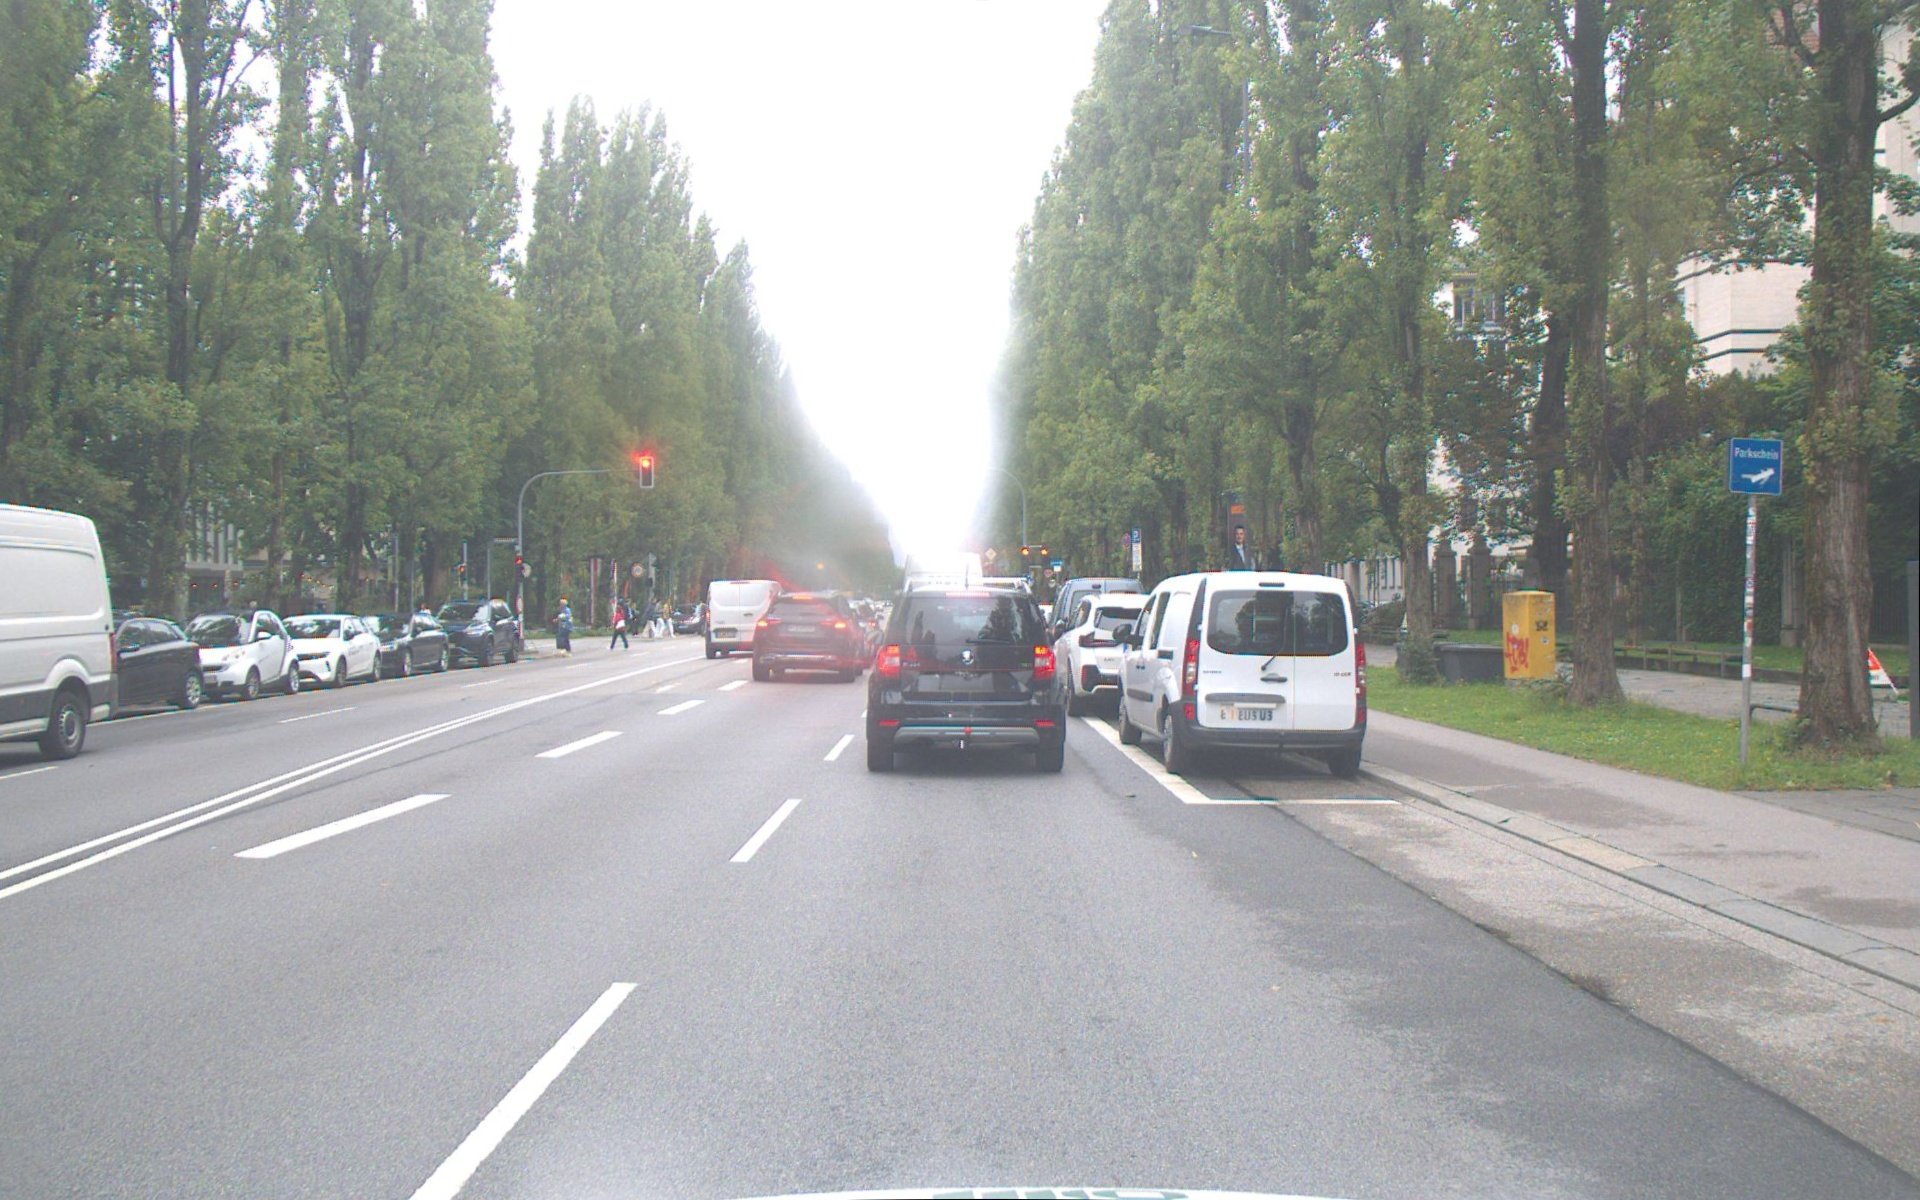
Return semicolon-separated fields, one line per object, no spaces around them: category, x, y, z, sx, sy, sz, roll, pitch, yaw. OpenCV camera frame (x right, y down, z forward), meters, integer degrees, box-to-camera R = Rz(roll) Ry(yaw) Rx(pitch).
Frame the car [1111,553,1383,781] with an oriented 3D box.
car;2.644;0.557;16.200;1.814;1.914;4.167;-1;0;-2

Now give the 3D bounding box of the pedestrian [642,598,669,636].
pedestrian;-13.835;0.761;75.226;0.874;1.684;0.866;-1;0;-39

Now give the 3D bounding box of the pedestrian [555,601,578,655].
pedestrian;-11.847;0.839;49.805;0.517;1.605;0.662;-1;0;-1

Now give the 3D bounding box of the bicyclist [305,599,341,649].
bicyclist;-22.587;0.837;58.648;0.886;1.752;0.825;-1;0;8

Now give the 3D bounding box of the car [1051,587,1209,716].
car;2.294;0.639;23.271;1.705;1.620;4.211;-1;0;-1

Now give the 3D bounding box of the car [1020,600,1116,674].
car;2.203;0.727;34.618;1.700;1.411;3.562;-1;0;-1

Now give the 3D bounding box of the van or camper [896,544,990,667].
van or camper;-0.443;0.099;37.223;1.936;2.593;4.023;-1;0;-3

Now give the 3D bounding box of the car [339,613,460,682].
car;-13.168;1.081;39.069;1.591;1.413;4.164;-3;0;-3

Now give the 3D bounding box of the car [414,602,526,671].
car;-13.232;0.940;44.952;1.812;1.683;4.692;-3;0;-3

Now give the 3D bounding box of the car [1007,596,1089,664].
car;2.091;0.687;39.918;1.700;1.501;3.562;-1;0;-1

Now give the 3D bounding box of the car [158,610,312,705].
car;-12.806;0.983;29.368;1.399;1.472;2.965;-4;0;-2

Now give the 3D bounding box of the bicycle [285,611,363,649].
bicycle;-22.544;1.059;58.625;2.481;1.259;0.813;-1;0;9

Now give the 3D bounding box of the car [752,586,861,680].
car;-2.865;0.570;31.572;1.745;1.648;4.024;-1;0;-1

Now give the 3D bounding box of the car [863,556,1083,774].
car;0.082;0.539;15.937;1.818;1.801;3.999;1;0;-1

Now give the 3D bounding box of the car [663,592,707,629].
car;-14.037;0.524;84.663;1.654;1.814;3.774;-1;0;-1

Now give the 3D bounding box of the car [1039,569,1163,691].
car;2.363;0.466;28.546;1.700;1.928;4.024;-1;0;-1

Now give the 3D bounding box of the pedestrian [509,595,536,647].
pedestrian;-13.598;0.649;51.399;0.647;1.605;0.530;-1;0;-1

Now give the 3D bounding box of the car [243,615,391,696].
car;-12.962;1.075;33.602;1.592;1.413;4.163;-3;0;-4

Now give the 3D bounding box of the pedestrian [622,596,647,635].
pedestrian;-15.207;0.705;77.287;0.861;1.795;0.879;-1;0;8

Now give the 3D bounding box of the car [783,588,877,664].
car;-2.927;0.559;37.928;1.953;1.588;3.999;-1;1;-2

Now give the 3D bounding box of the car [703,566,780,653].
car;-5.700;0.233;43.564;1.746;2.148;4.021;-1;0;-4

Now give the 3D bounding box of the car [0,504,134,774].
car;-10.038;0.411;14.710;2.183;2.526;6.754;-3;0;-3

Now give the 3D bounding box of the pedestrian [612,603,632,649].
pedestrian;-11.105;0.854;54.366;0.507;1.511;0.536;-1;0;-1

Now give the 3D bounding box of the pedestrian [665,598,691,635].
pedestrian;-13.019;0.765;76.335;0.874;1.684;0.866;-1;0;-39

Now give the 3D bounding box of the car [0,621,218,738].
car;-12.684;1.122;24.481;1.568;1.450;3.851;-3;0;0

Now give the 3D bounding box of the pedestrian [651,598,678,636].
pedestrian;-13.307;0.759;74.514;0.874;1.684;0.866;-1;0;-39
